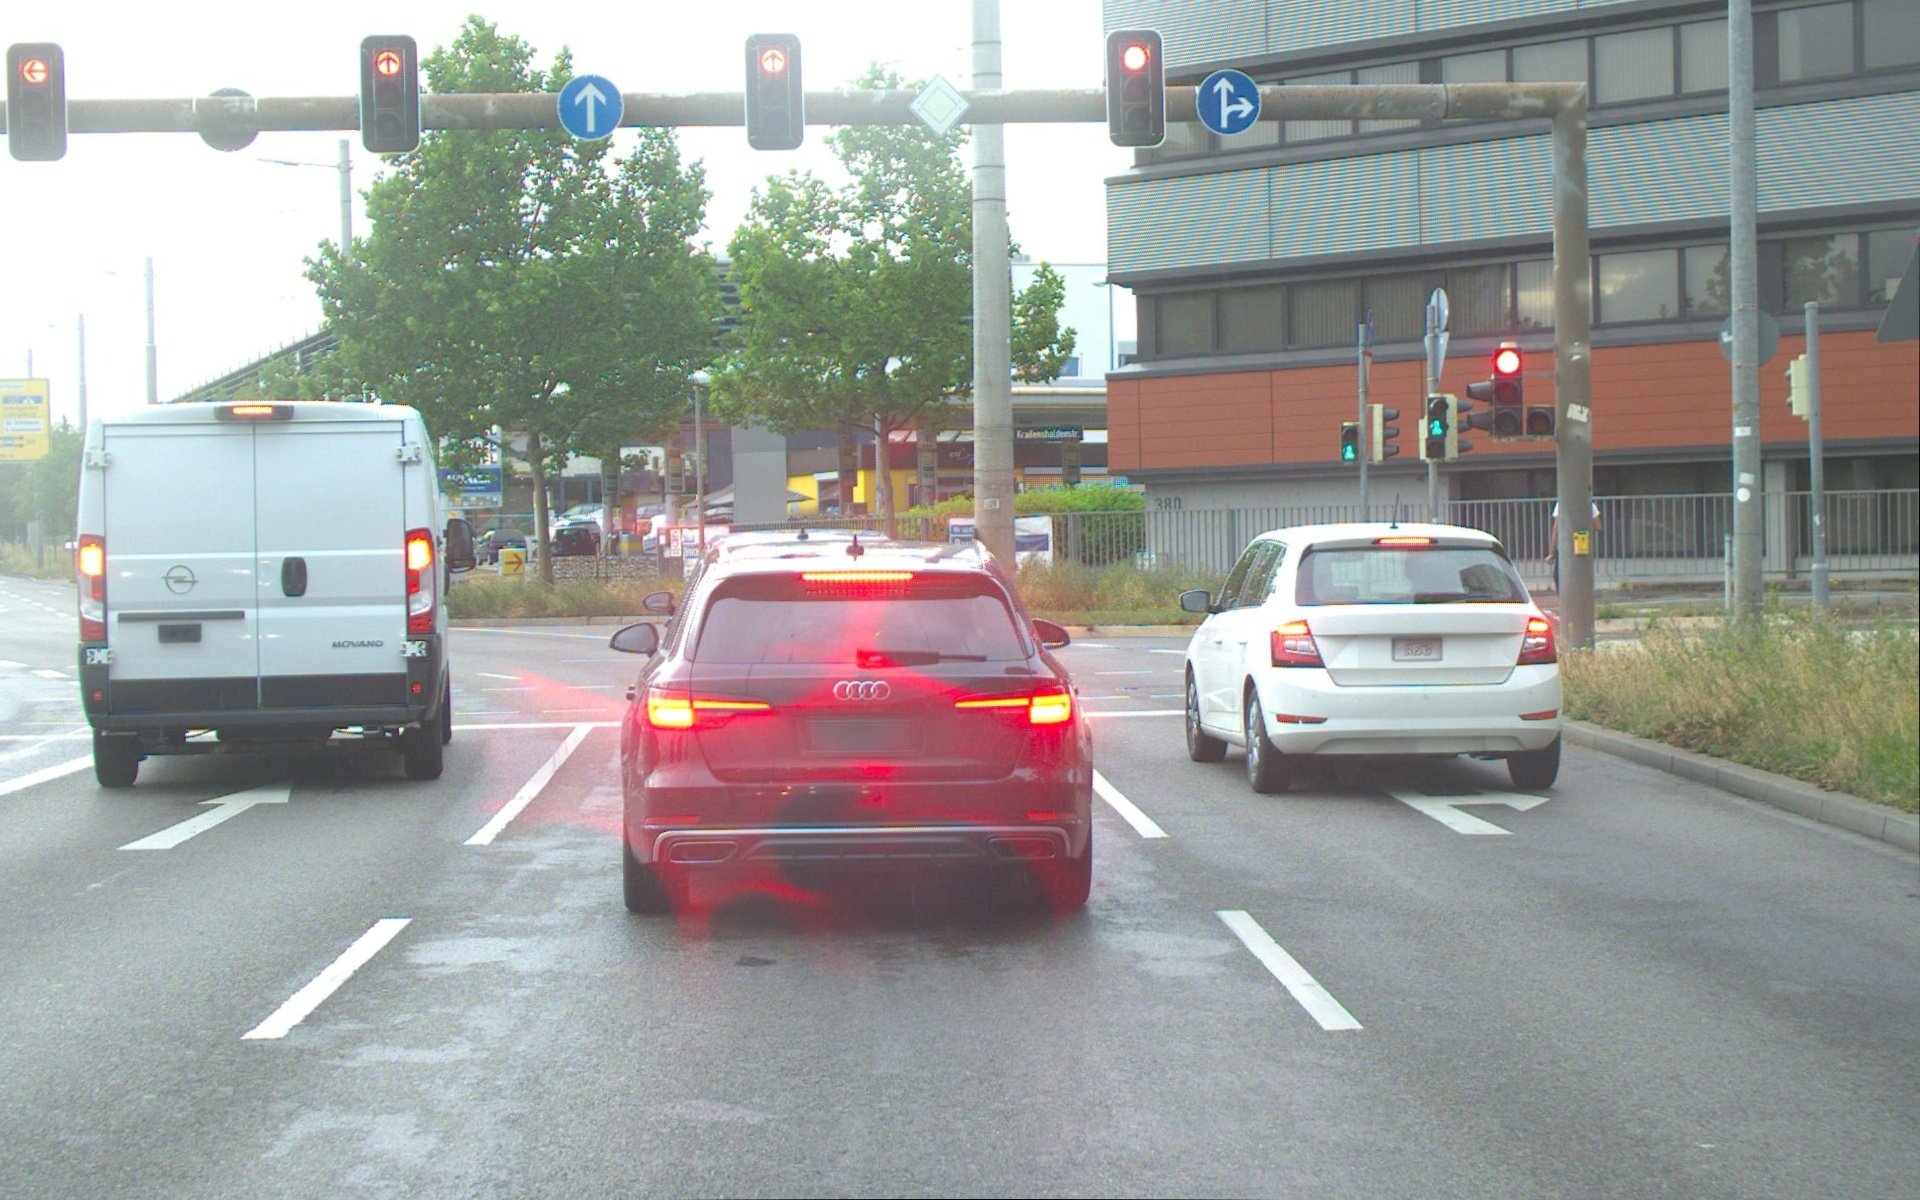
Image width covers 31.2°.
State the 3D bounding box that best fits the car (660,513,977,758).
[{"bbox_3d":[-0.853,0.206,22.656,1.894,1.460,3.909,0,0,0],"label":"car"}]

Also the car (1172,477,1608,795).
[{"bbox_3d":[2.365,0.181,19.910,1.829,1.650,4.000,0,0,-3],"label":"car"}]

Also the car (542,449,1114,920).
[{"bbox_3d":[-0.515,0.292,14.137,1.993,1.632,4.000,-1,0,-1],"label":"car"}]

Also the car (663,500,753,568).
[{"bbox_3d":[-7.923,-2.058,107.824,1.993,2.025,4.001,-2,1,-16],"label":"car"}]

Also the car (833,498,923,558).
[{"bbox_3d":[-2.882,-2.500,120.111,1.869,2.007,3.775,1,0,-22],"label":"car"}]

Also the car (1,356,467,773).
[{"bbox_3d":[-4.422,-0.200,21.766,2.445,2.286,4.905,1,0,-7],"label":"car"}]

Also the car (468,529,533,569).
[{"bbox_3d":[-18.600,-2.064,139.086,1.791,1.586,4.001,-2,1,-19],"label":"car"}]

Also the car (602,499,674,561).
[{"bbox_3d":[-10.943,-2.345,116.526,1.678,2.007,3.543,1,0,-17],"label":"car"}]

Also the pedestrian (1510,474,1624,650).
[{"bbox_3d":[7.559,-0.488,42.864,1.143,2.118,1.222,-2,2,-2],"label":"pedestrian"}]
